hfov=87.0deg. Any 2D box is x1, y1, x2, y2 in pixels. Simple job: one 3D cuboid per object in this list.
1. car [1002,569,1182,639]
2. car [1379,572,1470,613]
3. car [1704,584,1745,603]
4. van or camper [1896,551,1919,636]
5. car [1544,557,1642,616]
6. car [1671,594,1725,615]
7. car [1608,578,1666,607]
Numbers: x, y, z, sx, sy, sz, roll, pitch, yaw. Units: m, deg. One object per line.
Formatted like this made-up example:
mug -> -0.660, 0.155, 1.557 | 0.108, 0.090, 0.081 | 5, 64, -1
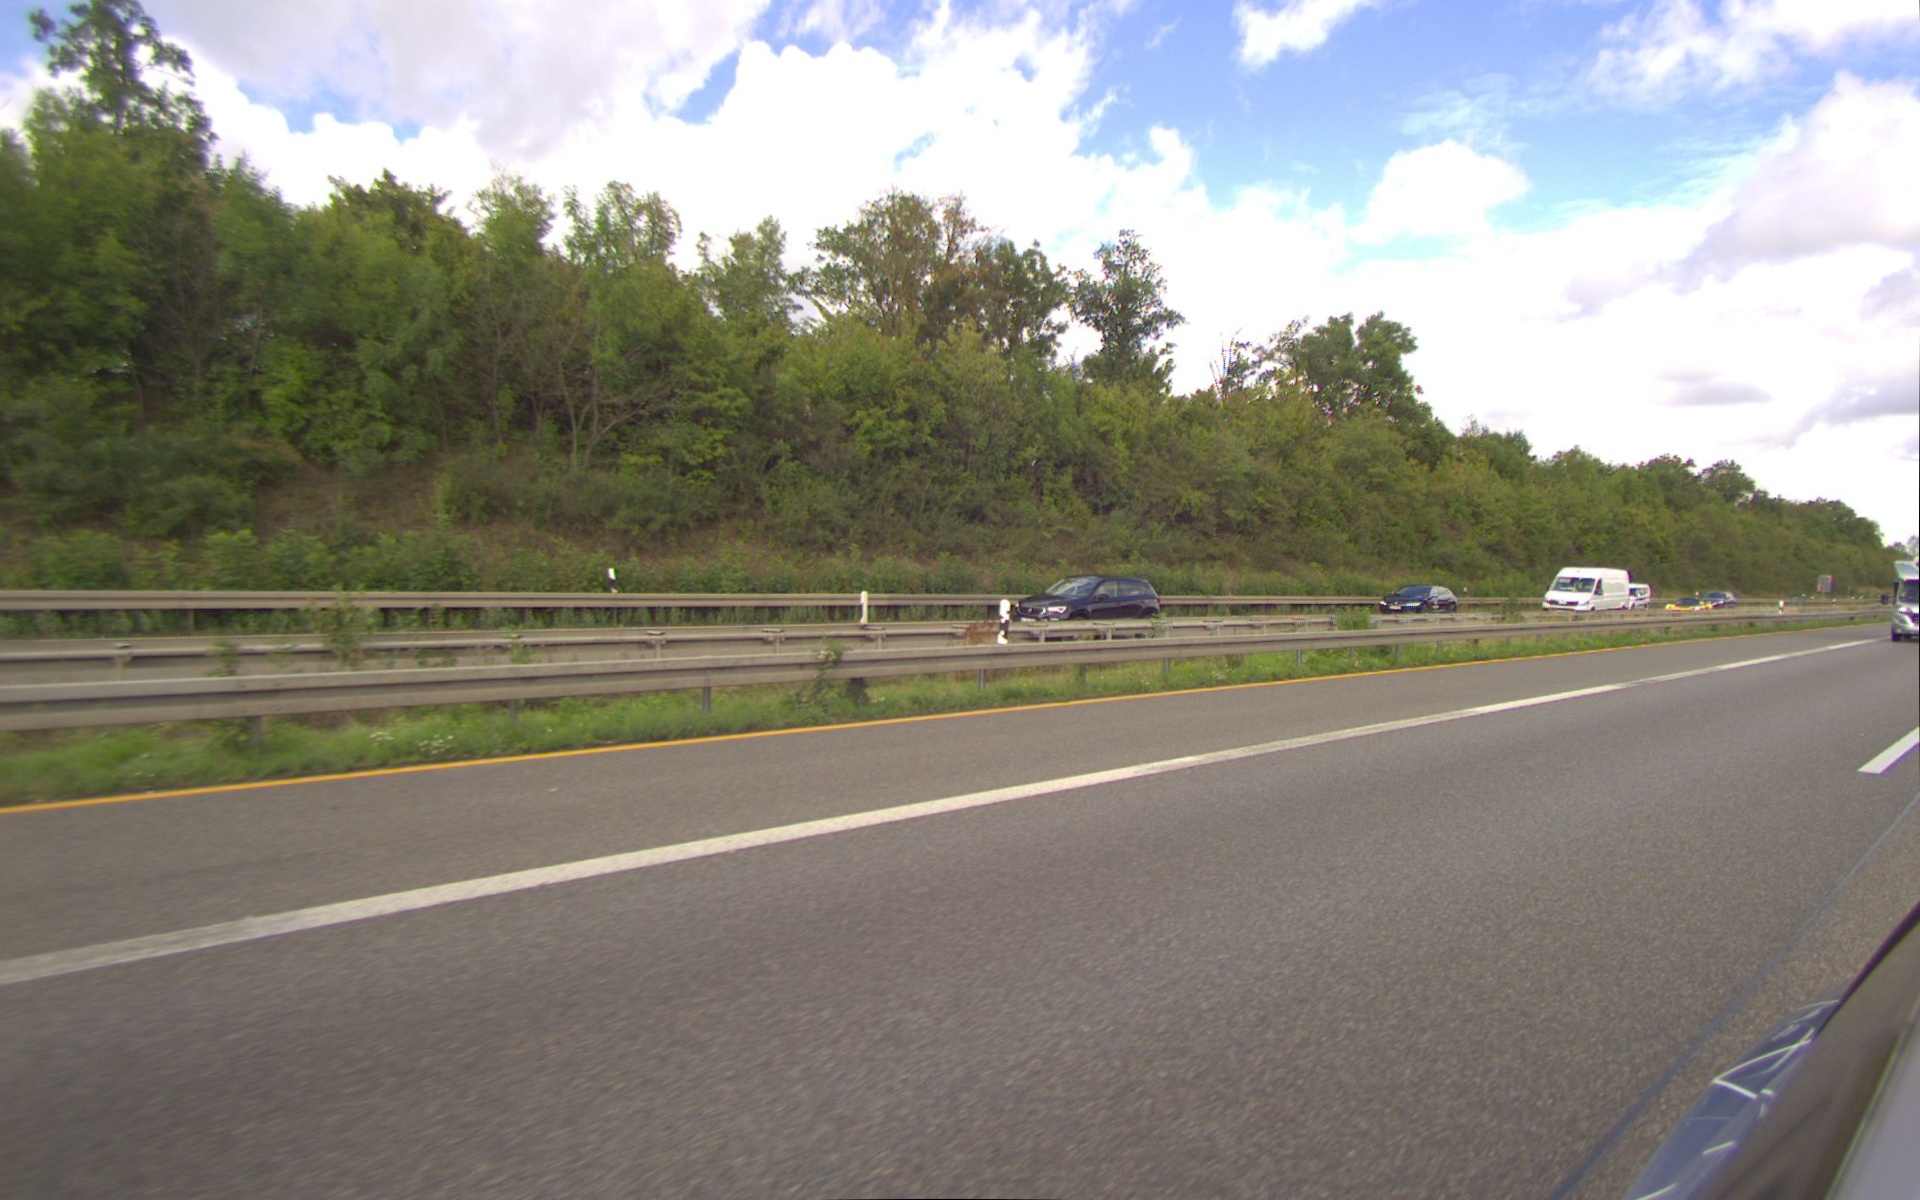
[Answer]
car -> 3.308, 0.074, 24.835 | 4.446, 1.502, 1.847 | 0, 3, -41
car -> 20.373, -0.333, 44.316 | 4.682, 1.622, 1.847 | 0, 3, -42
car -> 60.116, -0.499, 79.542 | 4.095, 1.433, 1.715 | 0, 2, -41
van or camper -> 34.500, -0.219, 34.922 | 7.528, 2.756, 2.473 | 0, 0, -41
car -> 30.242, -0.630, 48.257 | 6.625, 2.586, 2.074 | 0, 2, -41
car -> 43.558, 0.261, 59.728 | 4.096, 1.196, 1.715 | 0, 1, -41
car -> 42.755, -0.494, 63.878 | 4.680, 1.774, 1.847 | 0, 1, -41
